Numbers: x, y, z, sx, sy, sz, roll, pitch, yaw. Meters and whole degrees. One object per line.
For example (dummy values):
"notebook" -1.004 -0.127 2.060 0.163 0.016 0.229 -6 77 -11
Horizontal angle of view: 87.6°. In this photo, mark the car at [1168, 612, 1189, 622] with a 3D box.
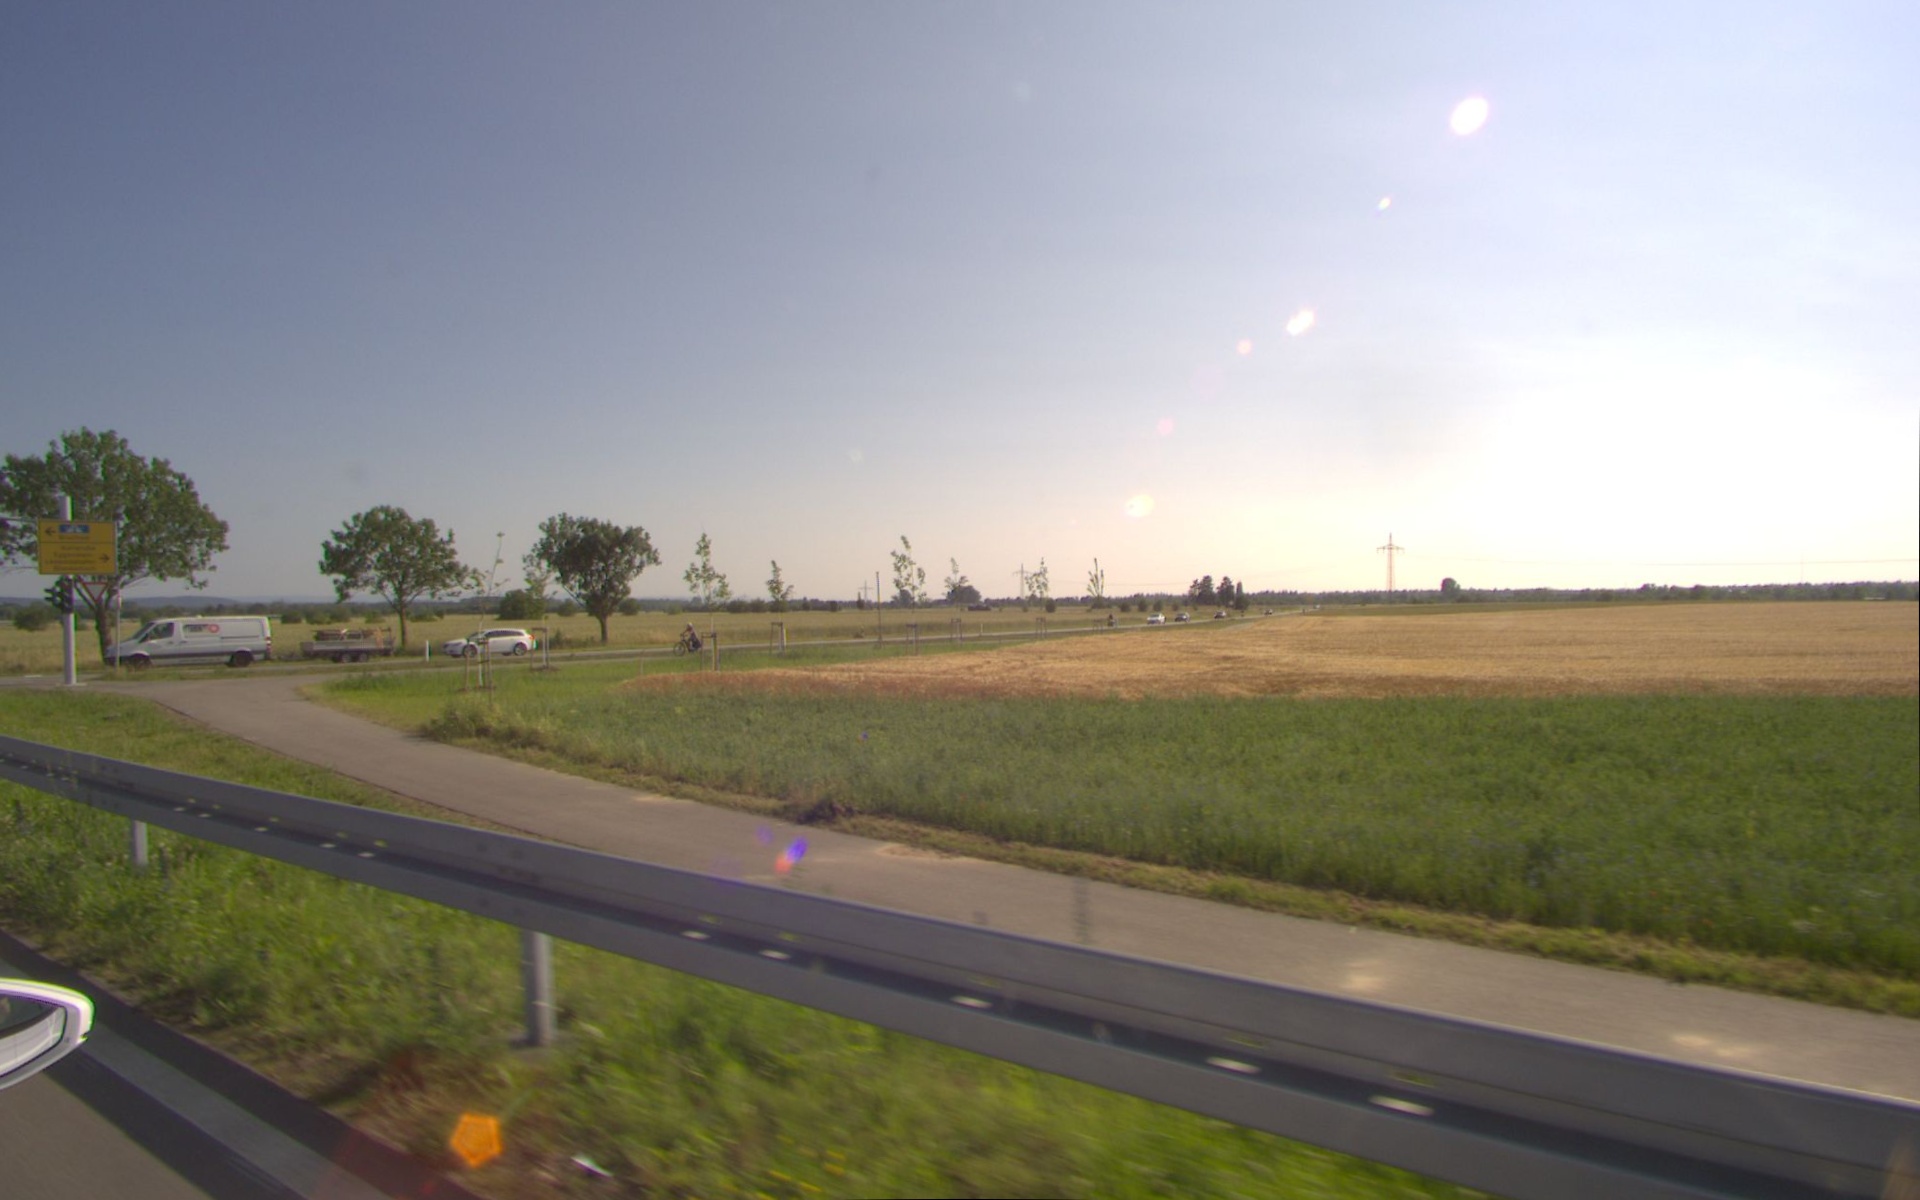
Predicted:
"car" 34.445 2.650 157.464 1.990 1.610 4.865 1 0 28

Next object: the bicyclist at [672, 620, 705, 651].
"bicyclist" -14.643 1.917 54.036 1.152 1.622 1.273 0 0 41

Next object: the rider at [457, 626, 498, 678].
"rider" -15.879 1.696 32.995 0.972 1.665 0.821 0 1 -3

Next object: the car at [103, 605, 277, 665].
"car" -34.291 1.595 44.767 1.979 2.524 5.926 -2 -3 43

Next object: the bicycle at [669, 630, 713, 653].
"bicycle" -14.550 2.258 54.198 0.880 1.201 2.146 -2 -2 40

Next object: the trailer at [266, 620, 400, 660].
"trailer" -30.462 1.933 48.814 1.933 1.776 5.231 -2 -1 43

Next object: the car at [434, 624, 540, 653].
"car" -25.695 2.111 54.497 1.977 1.529 4.848 -2 -3 40
